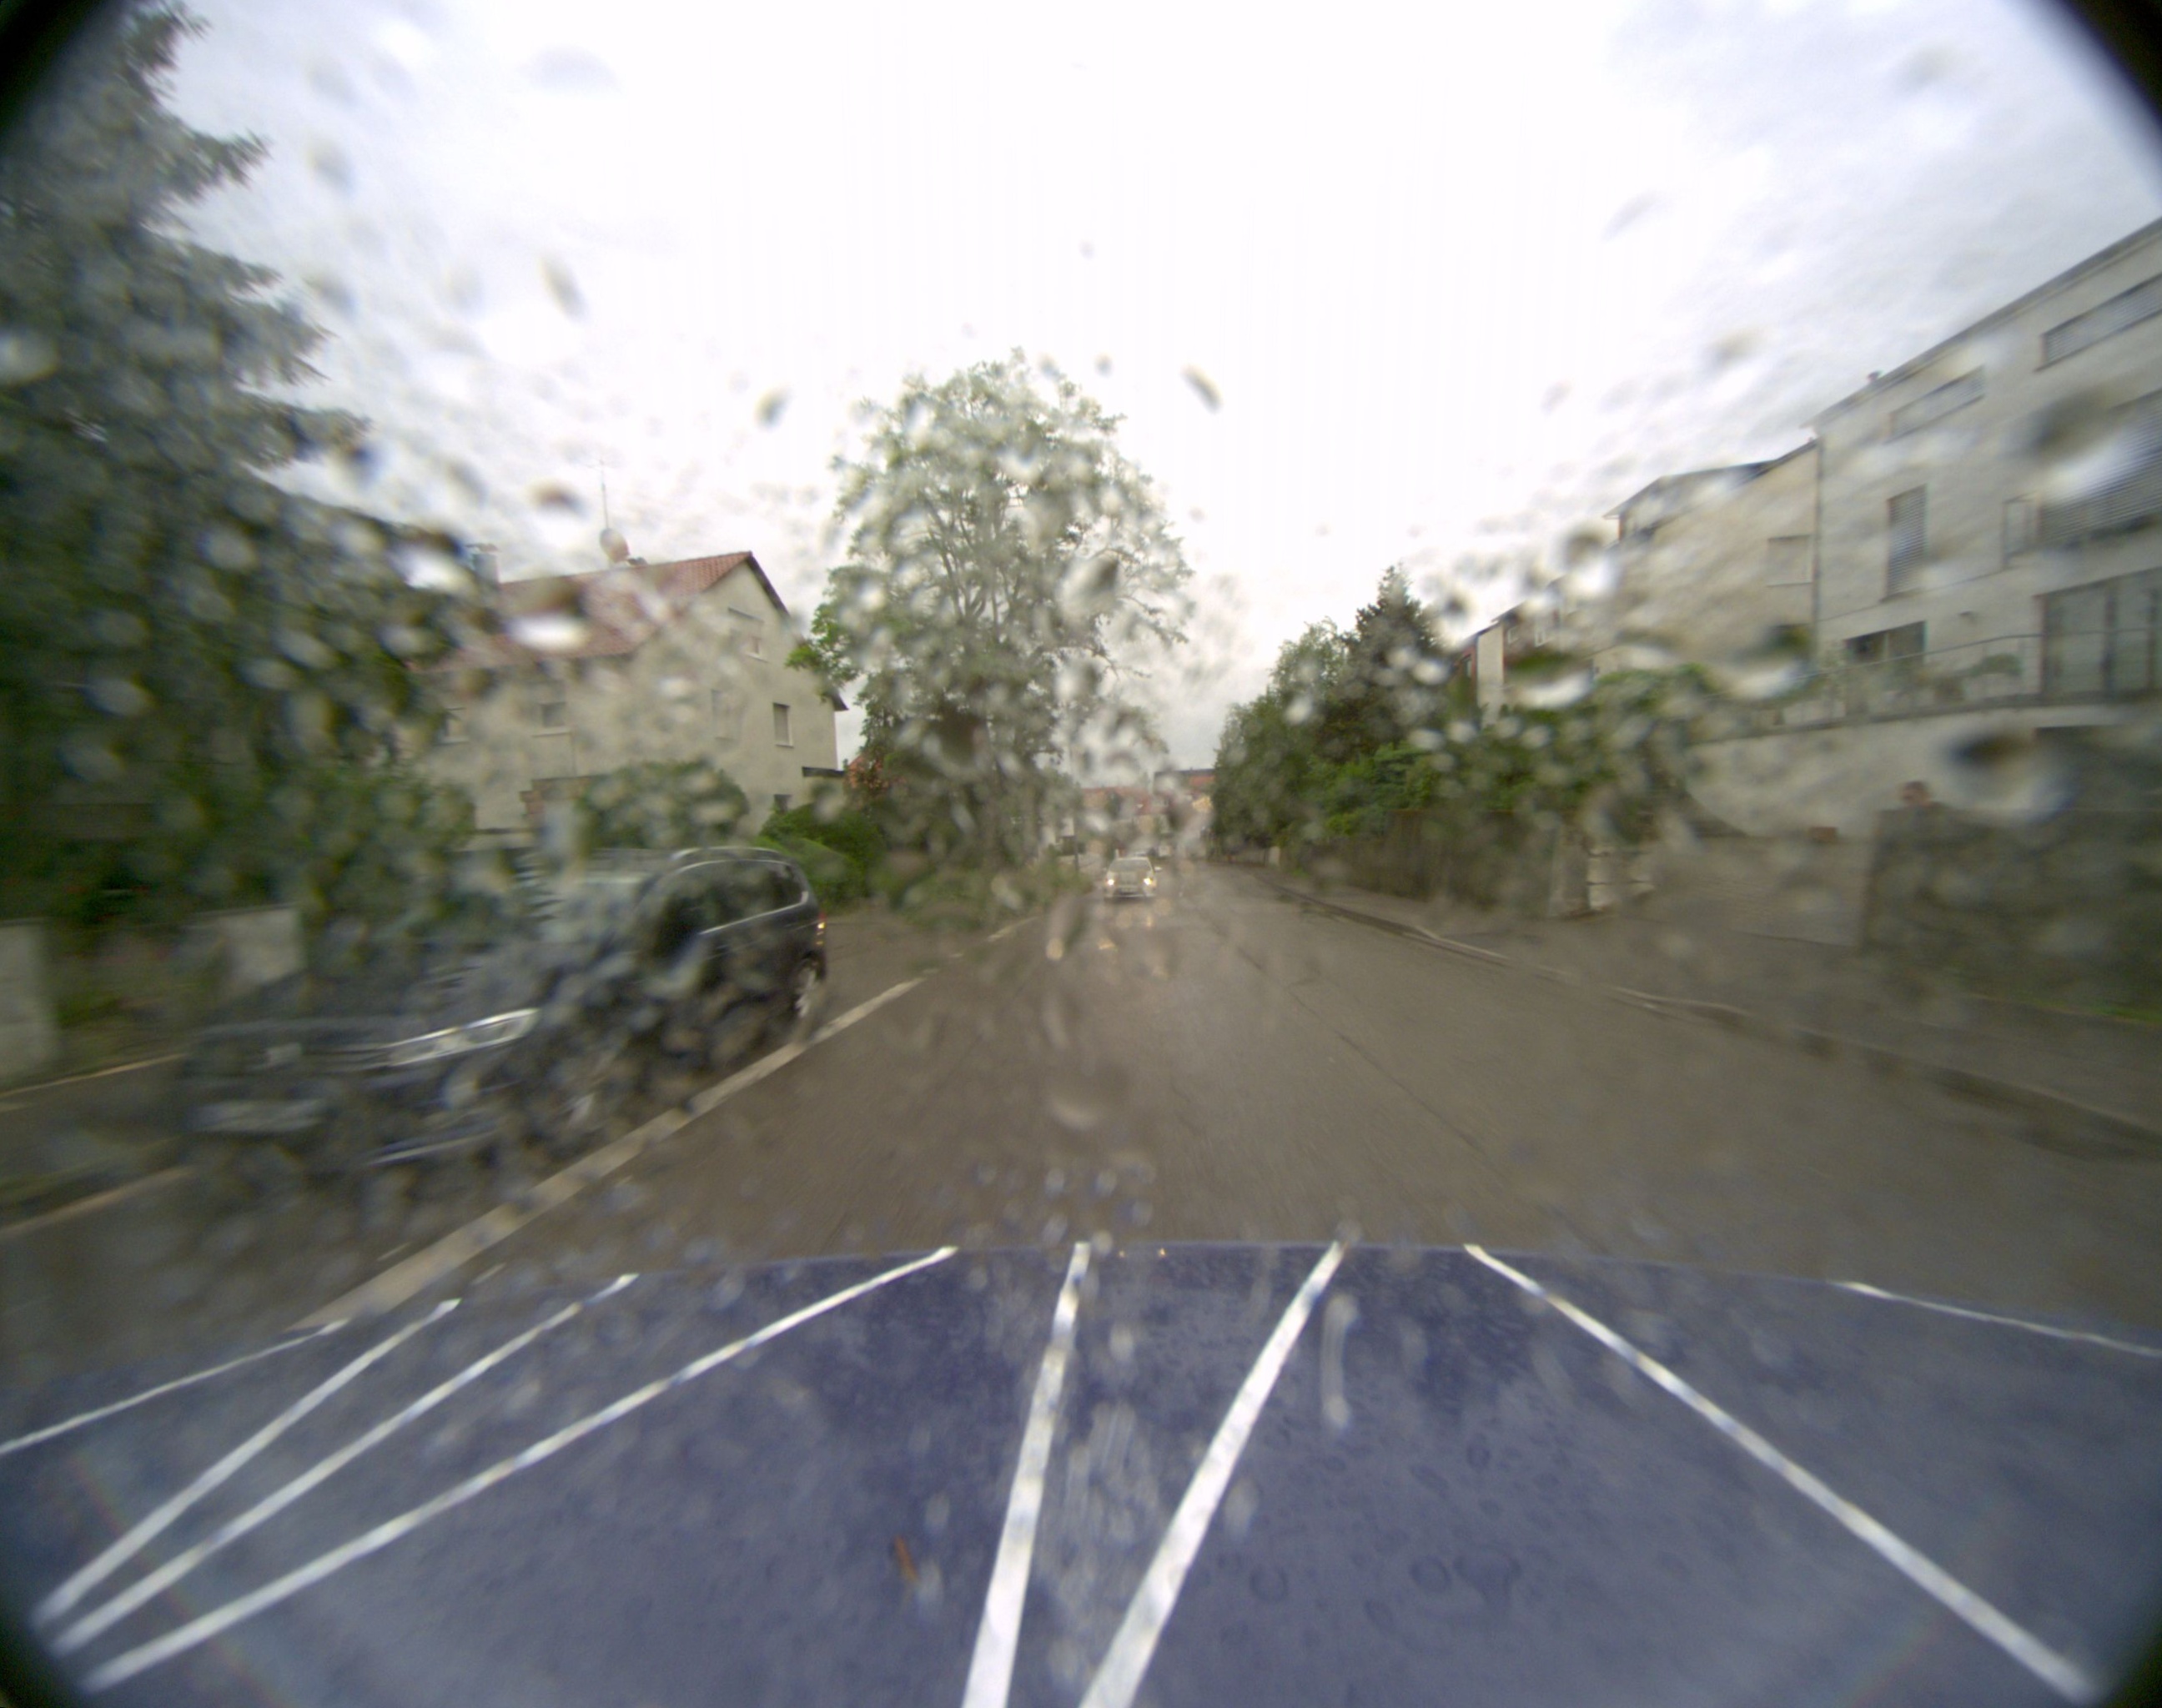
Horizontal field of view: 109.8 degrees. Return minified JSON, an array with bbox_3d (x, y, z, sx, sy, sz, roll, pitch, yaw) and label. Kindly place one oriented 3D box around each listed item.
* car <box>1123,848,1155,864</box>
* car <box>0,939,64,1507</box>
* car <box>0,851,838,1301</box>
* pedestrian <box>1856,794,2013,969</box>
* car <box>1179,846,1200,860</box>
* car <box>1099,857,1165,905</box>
[{"bbox_3d":[7.113,0.281,93.340,2.117,1.863,4.173,-3,0,-24],"label":"car"},{"bbox_3d":[-3.692,0.995,0.240,1.637,1.448,3.701,-2,1,2],"label":"car"},{"bbox_3d":[-3.395,0.867,5.167,1.834,1.691,4.461,-2,1,2],"label":"car"},{"bbox_3d":[8.535,0.271,7.631,0.658,1.639,0.732,-3,-1,-3],"label":"pedestrian"},{"bbox_3d":[12.598,-0.137,88.341,1.760,1.491,3.993,-3,0,0],"label":"car"},{"bbox_3d":[1.813,0.859,25.773,1.862,1.369,4.183,-3,0,8],"label":"car"}]
